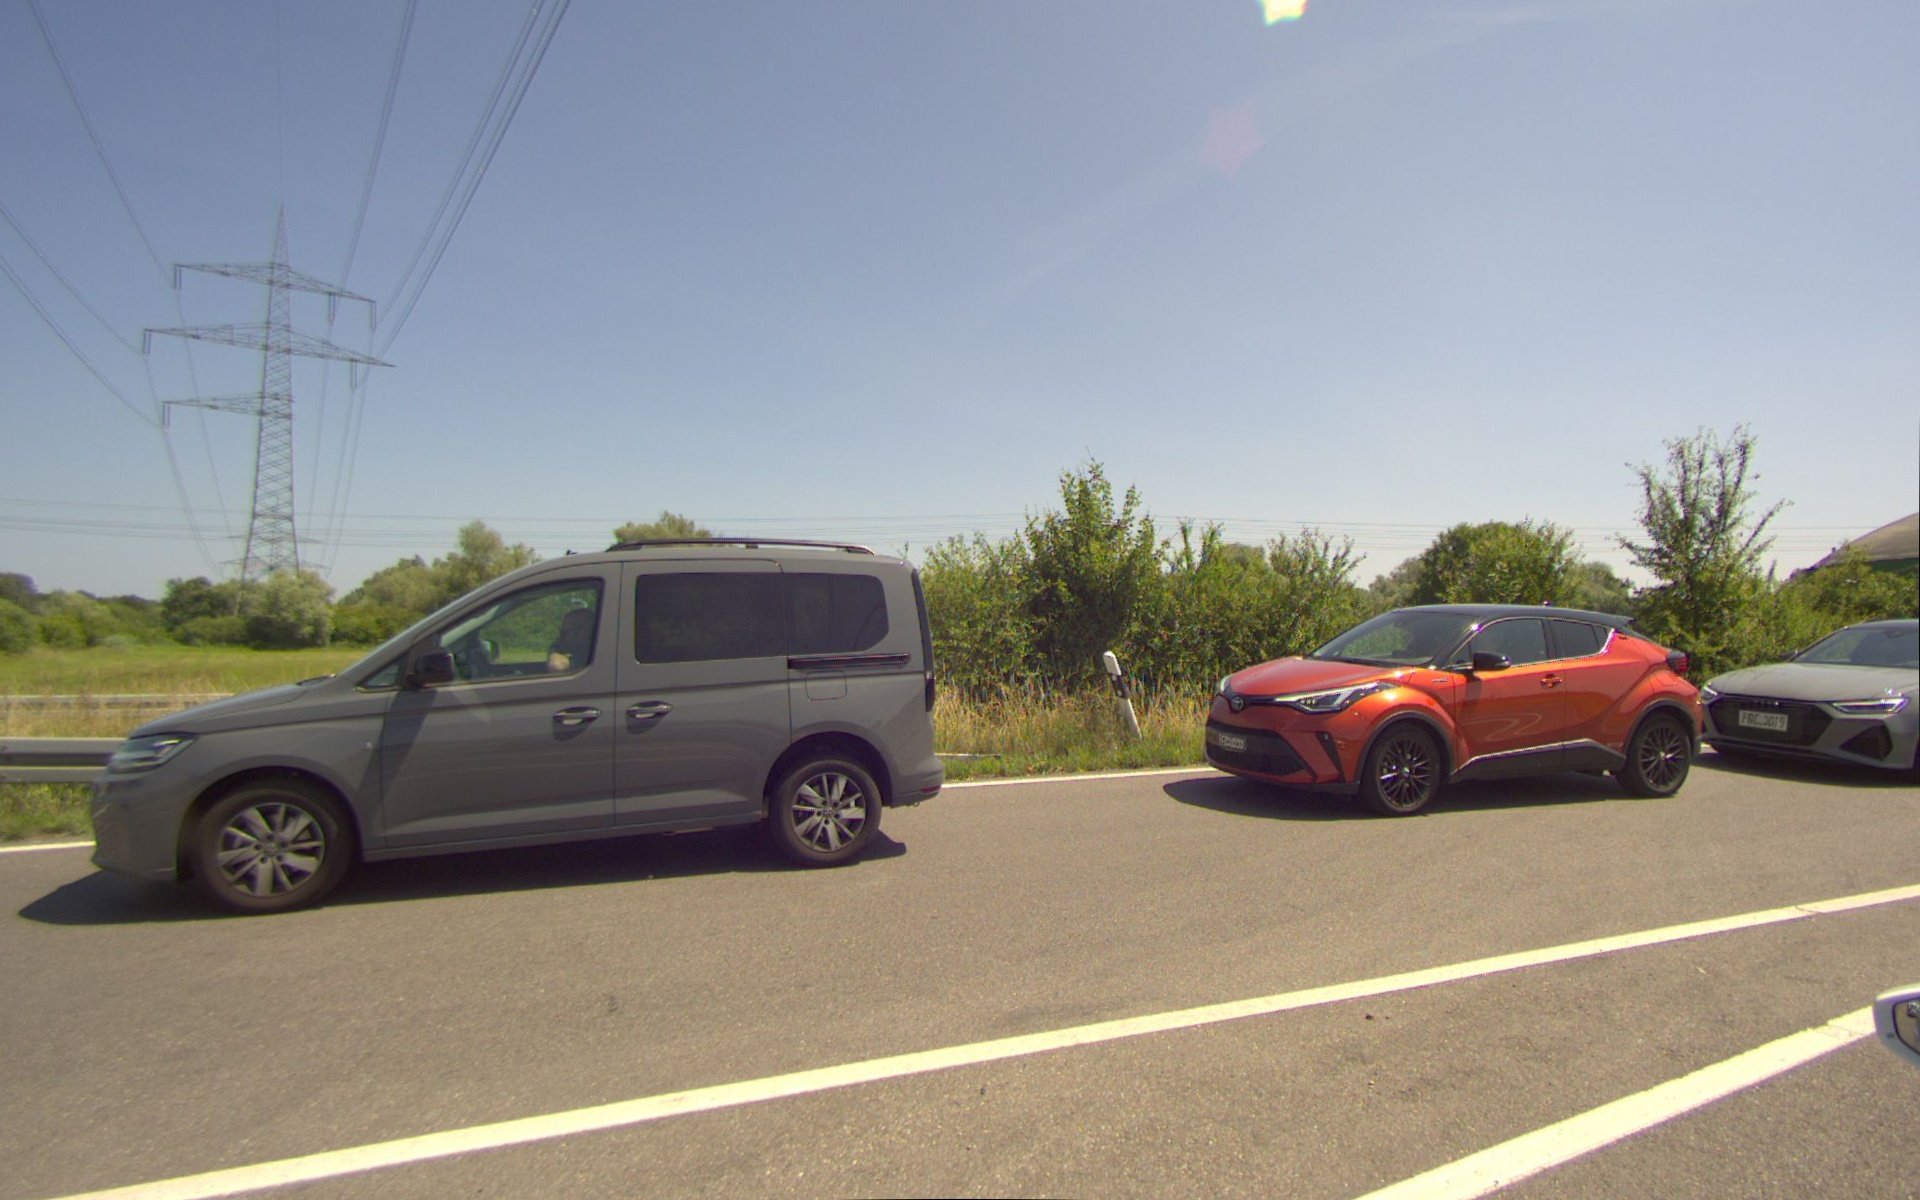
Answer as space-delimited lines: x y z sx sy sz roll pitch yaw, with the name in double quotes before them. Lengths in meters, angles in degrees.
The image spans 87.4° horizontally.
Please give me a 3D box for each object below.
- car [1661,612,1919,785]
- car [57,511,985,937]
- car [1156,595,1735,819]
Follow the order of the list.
"car" 9.748 0.876 10.193 4.732 1.479 1.840 0 -1 -18
"car" -2.224 0.591 6.090 4.373 1.856 1.923 1 -2 -21
"car" 4.006 0.785 8.409 4.322 1.535 1.798 1 -1 -18
